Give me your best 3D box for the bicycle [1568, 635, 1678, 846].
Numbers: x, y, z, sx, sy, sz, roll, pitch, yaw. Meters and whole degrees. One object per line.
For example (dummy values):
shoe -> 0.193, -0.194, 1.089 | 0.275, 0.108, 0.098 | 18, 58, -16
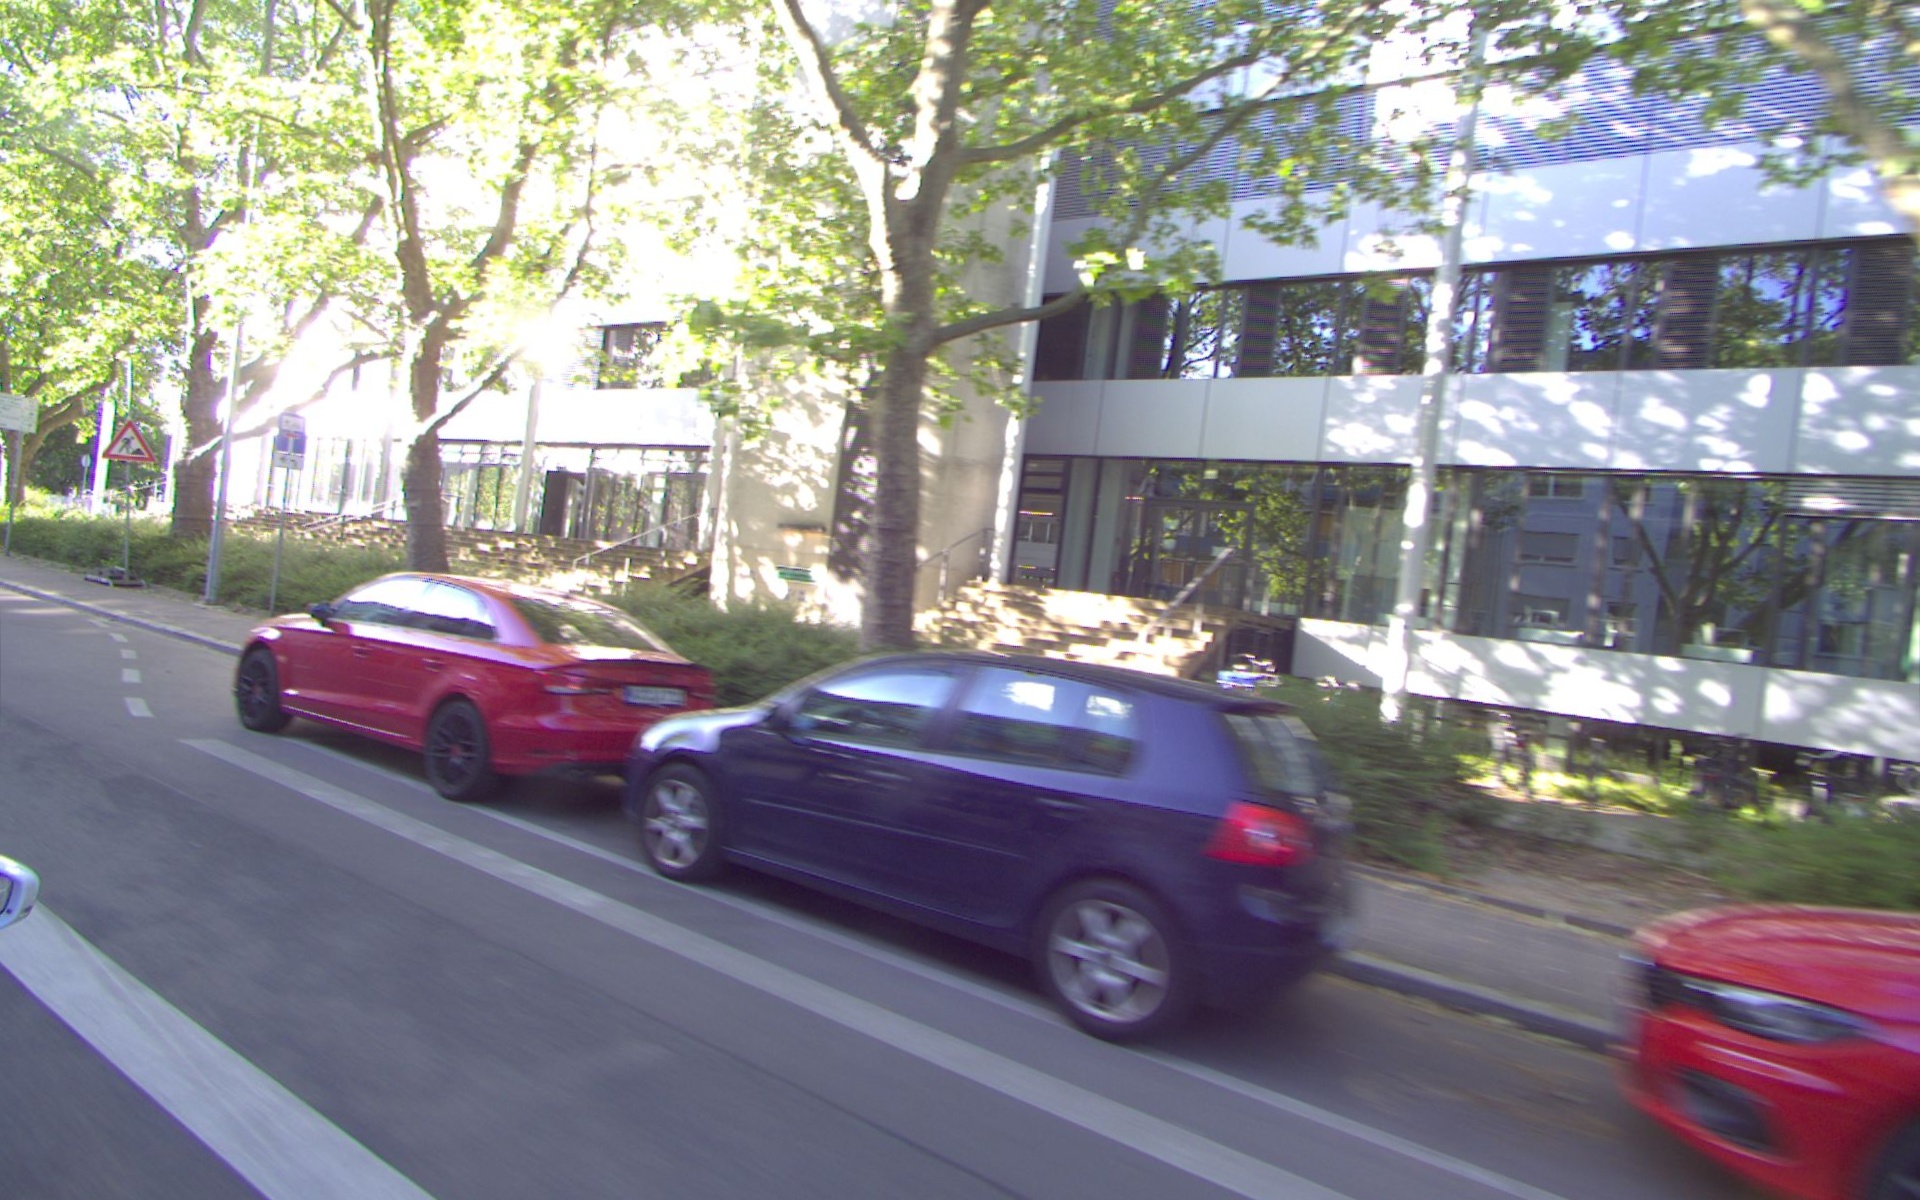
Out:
bicycle -> 7.418, 1.522, 11.358 | 0.730, 2.038, 2.601 | 7, -1, 32

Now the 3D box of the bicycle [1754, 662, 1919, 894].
bicycle -> 9.088, 1.754, 10.519 | 0.730, 2.038, 2.601 | 7, -1, 32

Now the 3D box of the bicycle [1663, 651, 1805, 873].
bicycle -> 8.258, 1.659, 10.850 | 0.730, 2.038, 2.601 | 7, -1, 32

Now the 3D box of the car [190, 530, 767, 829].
car -> -3.805, 0.494, 7.752 | 4.361, 1.465, 1.698 | 7, -3, 30

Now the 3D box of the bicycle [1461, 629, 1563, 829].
bicycle -> 6.571, 1.474, 11.890 | 0.730, 2.038, 2.601 | 7, -1, 32

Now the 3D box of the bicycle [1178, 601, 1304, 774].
bicycle -> 3.831, 1.169, 13.507 | 0.730, 2.038, 2.601 | 7, -1, 32

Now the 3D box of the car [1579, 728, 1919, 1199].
car -> 4.285, 1.465, 2.767 | 4.247, 1.495, 1.697 | 7, -3, 32

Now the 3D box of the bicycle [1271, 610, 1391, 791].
bicycle -> 4.834, 1.283, 12.957 | 0.730, 2.038, 2.601 | 7, -1, 32

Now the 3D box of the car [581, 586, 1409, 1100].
car -> 0.041, 0.953, 5.401 | 3.999, 1.482, 1.697 | 7, -3, 33

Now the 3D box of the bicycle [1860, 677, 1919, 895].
bicycle -> 9.752, 1.820, 9.858 | 0.730, 2.038, 2.601 | 7, -1, 32
